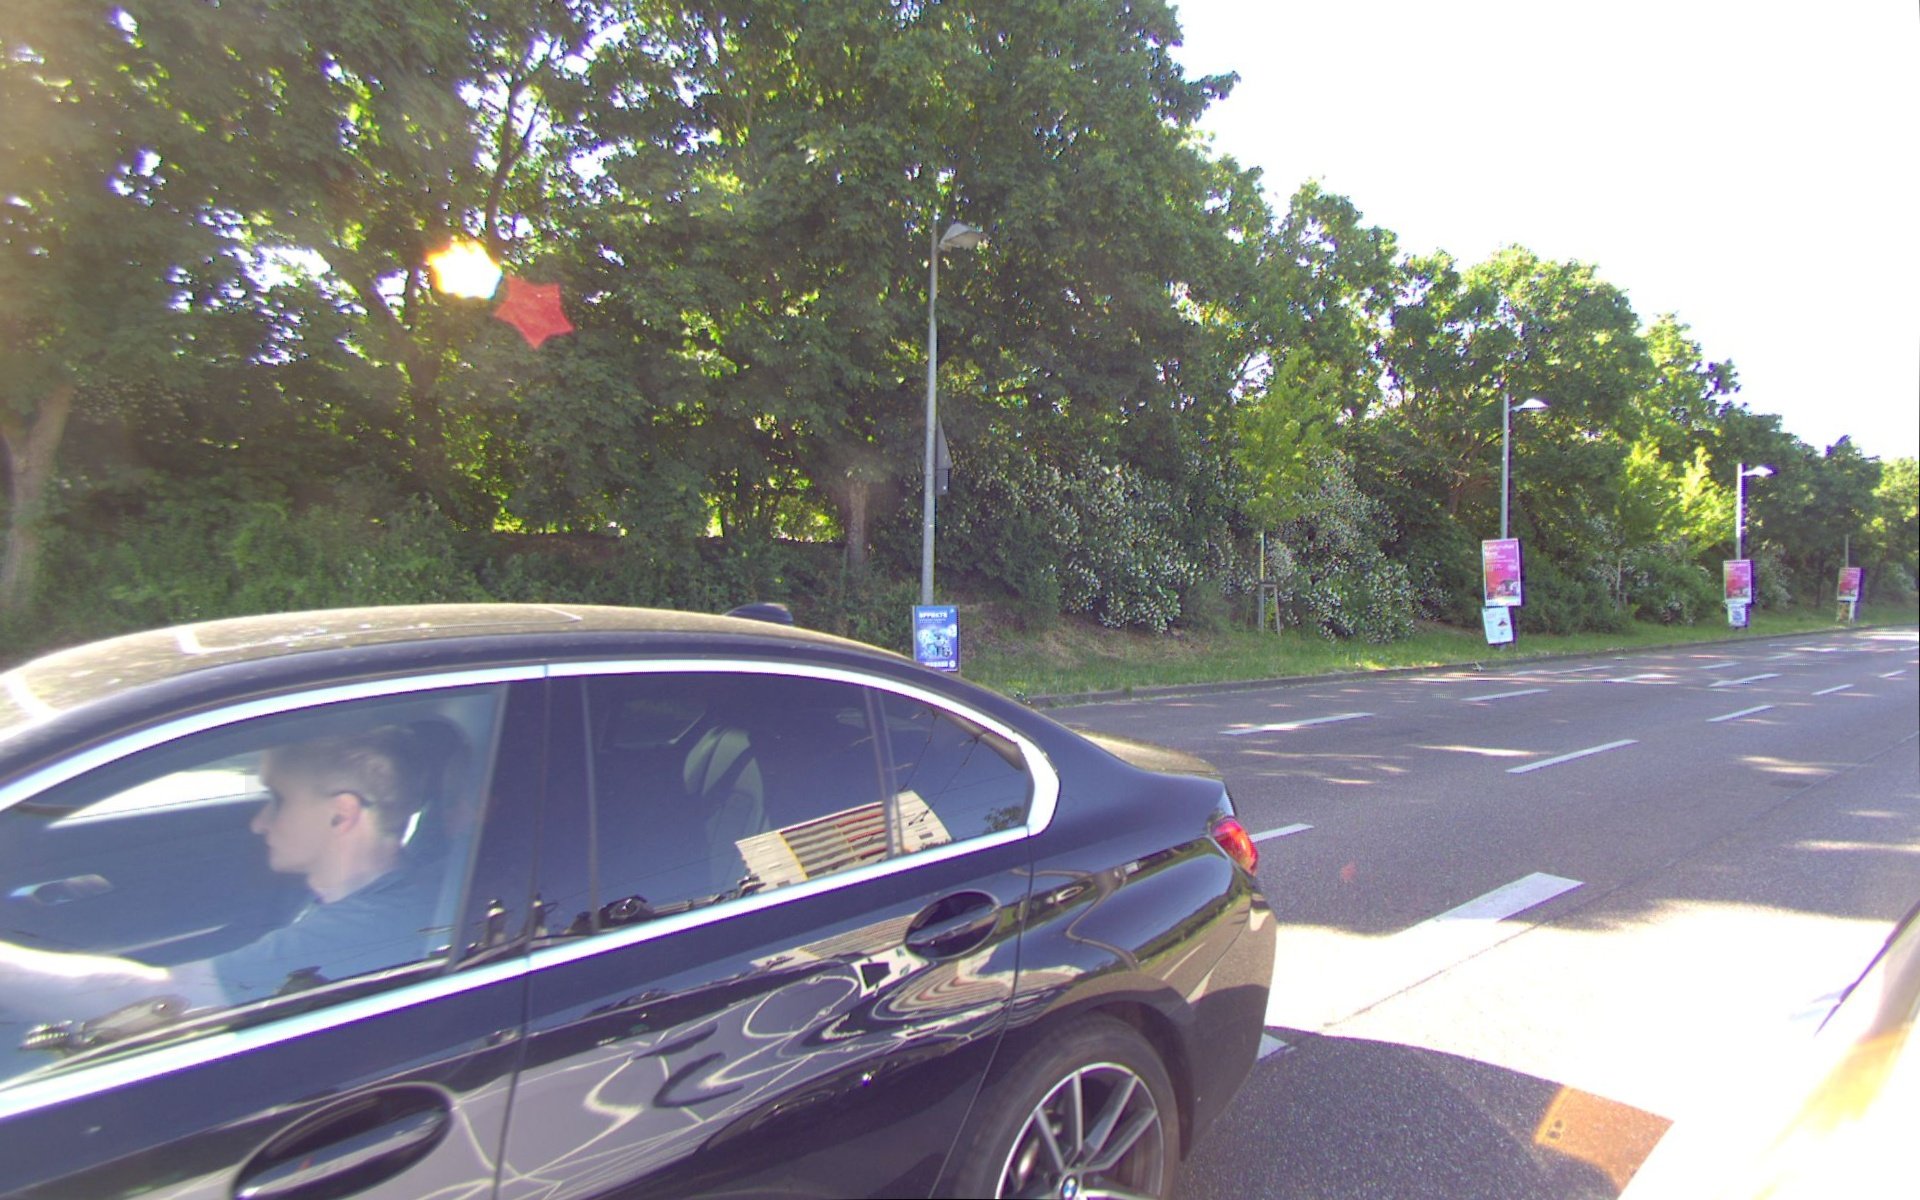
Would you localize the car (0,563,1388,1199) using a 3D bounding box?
[{"bbox_3d":[-1.218,0.649,1.832,4.364,1.415,1.874,0,1,-40],"label":"car"}]
